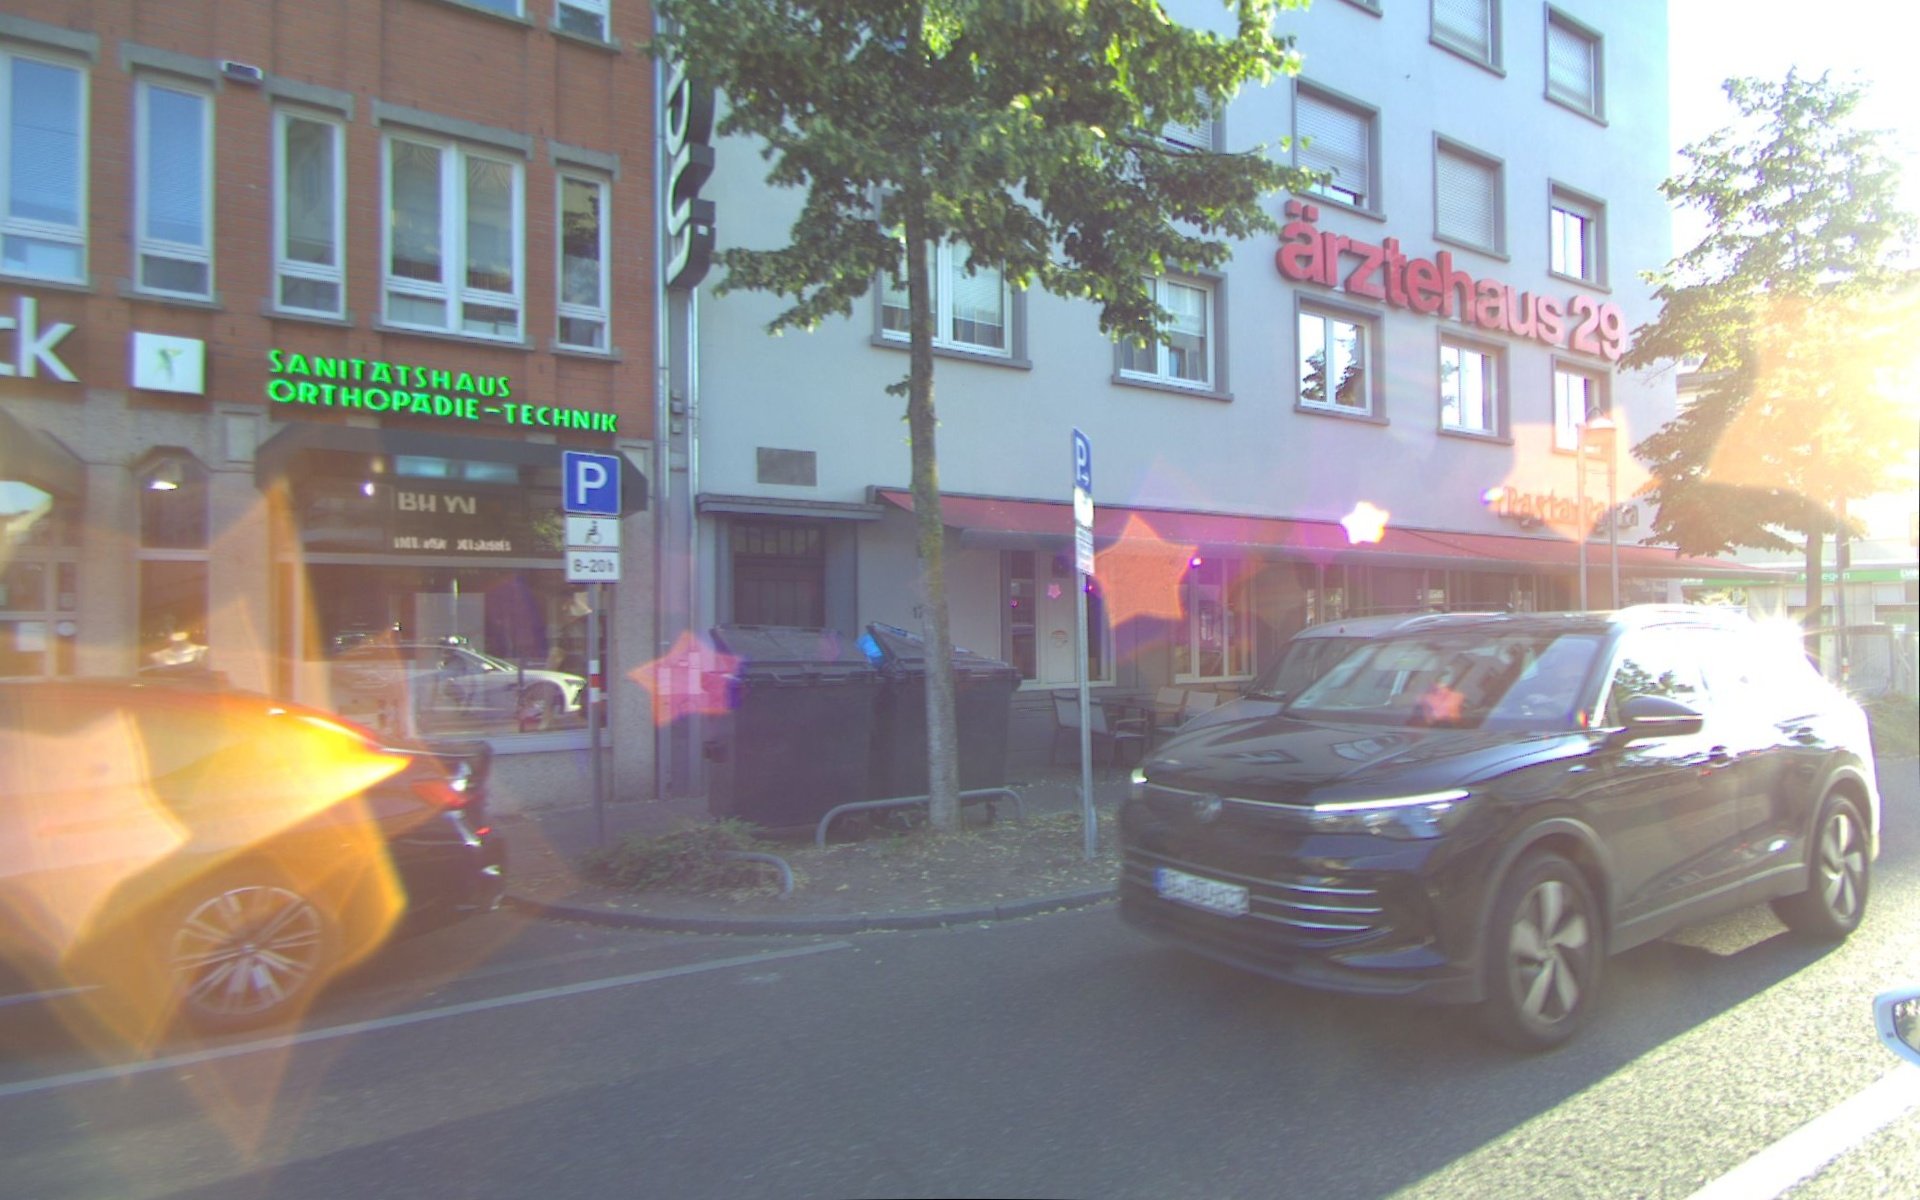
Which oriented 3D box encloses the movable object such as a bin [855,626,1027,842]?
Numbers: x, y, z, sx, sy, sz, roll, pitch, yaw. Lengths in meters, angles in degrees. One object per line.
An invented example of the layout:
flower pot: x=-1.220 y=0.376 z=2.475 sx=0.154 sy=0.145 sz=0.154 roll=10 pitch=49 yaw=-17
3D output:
movable object such as a bin: x=-0.157 y=1.054 z=8.411 sx=1.196 sy=1.641 sz=0.775 roll=1 pitch=0 yaw=-35

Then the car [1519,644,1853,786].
car: x=8.773 y=1.275 z=12.063 sx=4.232 sy=1.434 sz=1.714 roll=1 pitch=-4 yaw=-32

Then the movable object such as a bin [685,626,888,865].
movable object such as a bin: x=-1.322 y=1.025 z=7.674 sx=1.323 sy=1.641 sz=0.776 roll=1 pitch=0 yaw=-35

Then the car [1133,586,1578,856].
car: x=3.604 y=0.944 z=8.952 sx=4.011 sy=1.912 sz=1.659 roll=1 pitch=-4 yaw=-34

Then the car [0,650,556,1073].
car: x=-4.215 y=1.019 z=4.214 sx=4.489 sy=1.491 sz=1.713 roll=1 pitch=-4 yaw=-31

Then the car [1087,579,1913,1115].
car: x=2.850 y=0.834 z=5.049 sx=4.246 sy=1.697 sz=1.722 roll=1 pitch=-2 yaw=-31
